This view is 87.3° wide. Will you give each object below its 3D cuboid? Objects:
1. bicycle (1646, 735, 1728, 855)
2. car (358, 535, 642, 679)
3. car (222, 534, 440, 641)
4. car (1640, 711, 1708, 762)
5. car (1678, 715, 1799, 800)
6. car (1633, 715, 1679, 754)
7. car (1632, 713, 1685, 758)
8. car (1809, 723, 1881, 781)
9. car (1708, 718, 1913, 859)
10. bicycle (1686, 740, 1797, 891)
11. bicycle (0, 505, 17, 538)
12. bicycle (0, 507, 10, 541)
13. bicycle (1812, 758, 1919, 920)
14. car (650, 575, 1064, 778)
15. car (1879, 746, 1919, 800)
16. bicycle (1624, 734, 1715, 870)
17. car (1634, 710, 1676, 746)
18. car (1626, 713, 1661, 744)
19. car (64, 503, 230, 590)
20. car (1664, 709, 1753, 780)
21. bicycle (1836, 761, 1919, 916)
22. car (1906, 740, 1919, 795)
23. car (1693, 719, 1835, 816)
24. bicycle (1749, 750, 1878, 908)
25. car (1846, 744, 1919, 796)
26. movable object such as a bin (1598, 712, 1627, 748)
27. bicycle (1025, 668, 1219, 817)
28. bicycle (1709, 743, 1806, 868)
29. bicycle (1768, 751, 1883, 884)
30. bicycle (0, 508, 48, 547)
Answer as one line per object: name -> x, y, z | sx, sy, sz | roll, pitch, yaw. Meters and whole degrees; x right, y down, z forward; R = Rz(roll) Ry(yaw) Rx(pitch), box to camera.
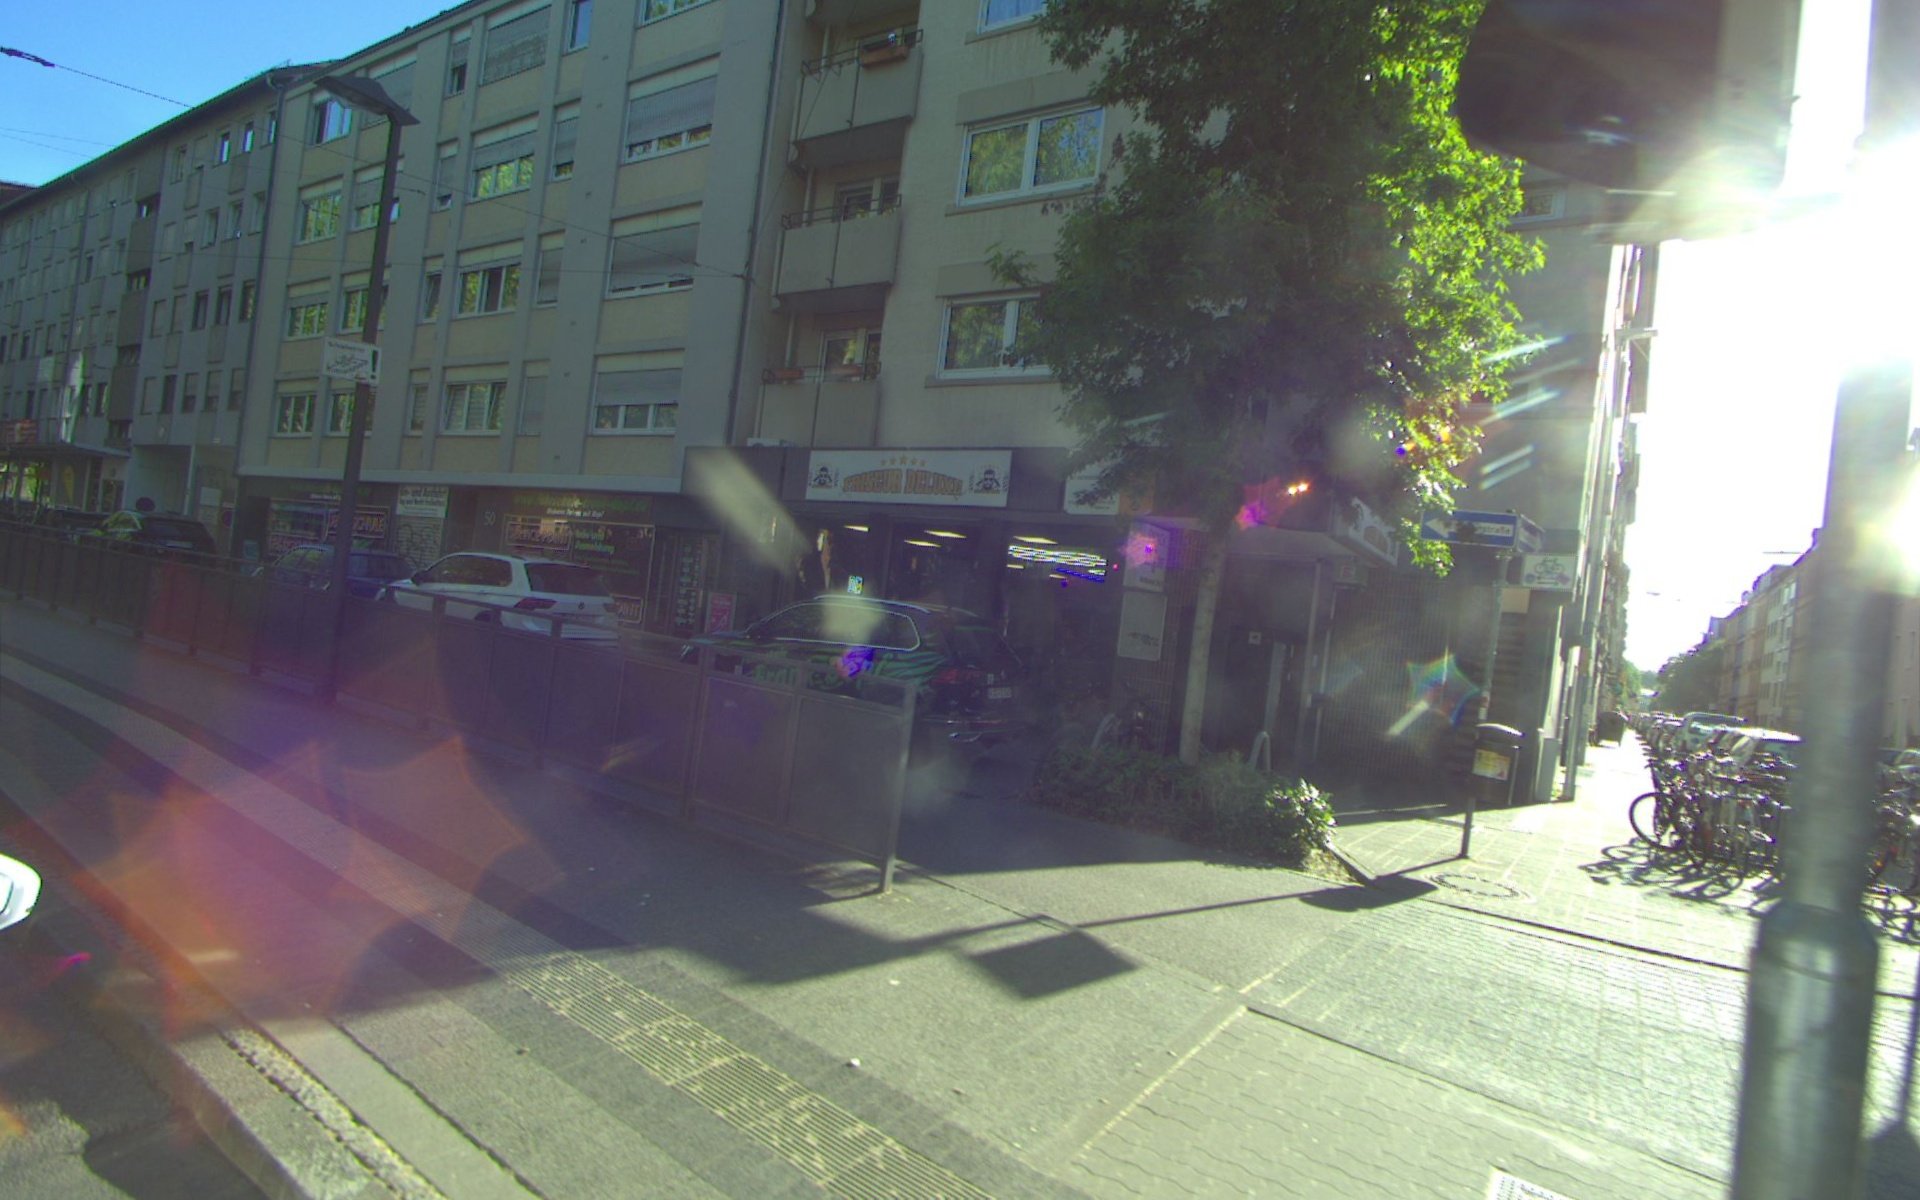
bicycle -> 8.634, 2.269, 11.994 | 0.502, 1.221, 1.919 | 6, -3, 30
car -> -7.035, 0.069, 15.230 | 4.345, 1.624, 1.802 | 6, -3, 35
car -> -11.552, -0.250, 18.393 | 4.180, 1.456, 1.746 | 6, -3, 35
car -> 28.855, 5.507, 40.748 | 1.863, 1.658, 3.995 | 6, -3, 32
car -> 18.987, 3.797, 24.697 | 1.806, 1.640, 4.068 | 6, -3, 32
car -> 43.310, 8.362, 62.666 | 1.967, 2.036, 3.995 | 6, -3, 32
car -> 37.380, 7.255, 53.893 | 1.967, 2.036, 3.995 | 6, -3, 32
car -> 35.666, 6.134, 40.638 | 1.713, 1.968, 4.215 | 6, -3, 38
car -> 13.218, 2.812, 15.935 | 1.841, 1.496, 4.587 | 9, 1, 35
bicycle -> 7.795, 2.092, 10.103 | 0.502, 1.222, 1.917 | 7, -1, 30
bicycle -> -36.299, -3.021, 37.410 | 2.868, 1.149, 0.613 | 6, -2, 23
bicycle -> -35.417, -2.854, 36.322 | 2.390, 1.149, 0.604 | 6, -2, 23
bicycle -> 8.662, 2.192, 9.477 | 0.502, 1.222, 1.917 | 8, 0, 30
car -> -1.275, 0.752, 11.538 | 4.375, 1.636, 1.994 | 6, 0, 35
car -> 28.898, 5.214, 29.809 | 1.970, 1.467, 3.989 | 6, -3, 38
bicycle -> 7.449, 2.065, 10.617 | 0.502, 1.221, 1.919 | 6, -3, 30
car -> 46.779, 8.633, 67.820 | 1.967, 2.036, 3.995 | 6, -3, 32
car -> 54.013, 10.153, 79.518 | 1.967, 2.036, 3.995 | 6, -3, 32
car -> -19.842, -1.330, 24.509 | 4.328, 1.634, 1.860 | 6, -3, 35
car -> 22.966, 4.410, 30.987 | 1.694, 1.836, 3.560 | 6, -3, 31
bicycle -> 9.048, 2.255, 9.634 | 0.502, 1.222, 1.917 | 8, 0, 30
car -> 26.019, 4.475, 25.935 | 1.837, 1.434, 3.989 | 6, -3, 38
car -> 16.163, 3.319, 20.408 | 1.680, 1.526, 3.995 | 6, -3, 32
bicycle -> 8.218, 2.145, 9.756 | 0.502, 1.222, 1.917 | 7, -1, 30
car -> 31.199, 5.690, 33.768 | 1.768, 1.434, 3.989 | 6, -3, 38
movable object such as a bin -> 27.323, 5.439, 42.151 | 0.853, 1.404, 0.854 | 6, -2, 31
bicycle -> 1.598, 1.354, 9.580 | 0.672, 1.201, 2.124 | 6, -3, 42
bicycle -> 9.189, 2.320, 11.654 | 0.502, 1.221, 1.919 | 6, -3, 30
bicycle -> 9.704, 2.391, 11.347 | 0.502, 1.221, 1.918 | 8, -1, 30
bicycle -> -33.163, -2.581, 35.350 | 2.395, 1.149, 0.623 | 6, -2, 23
